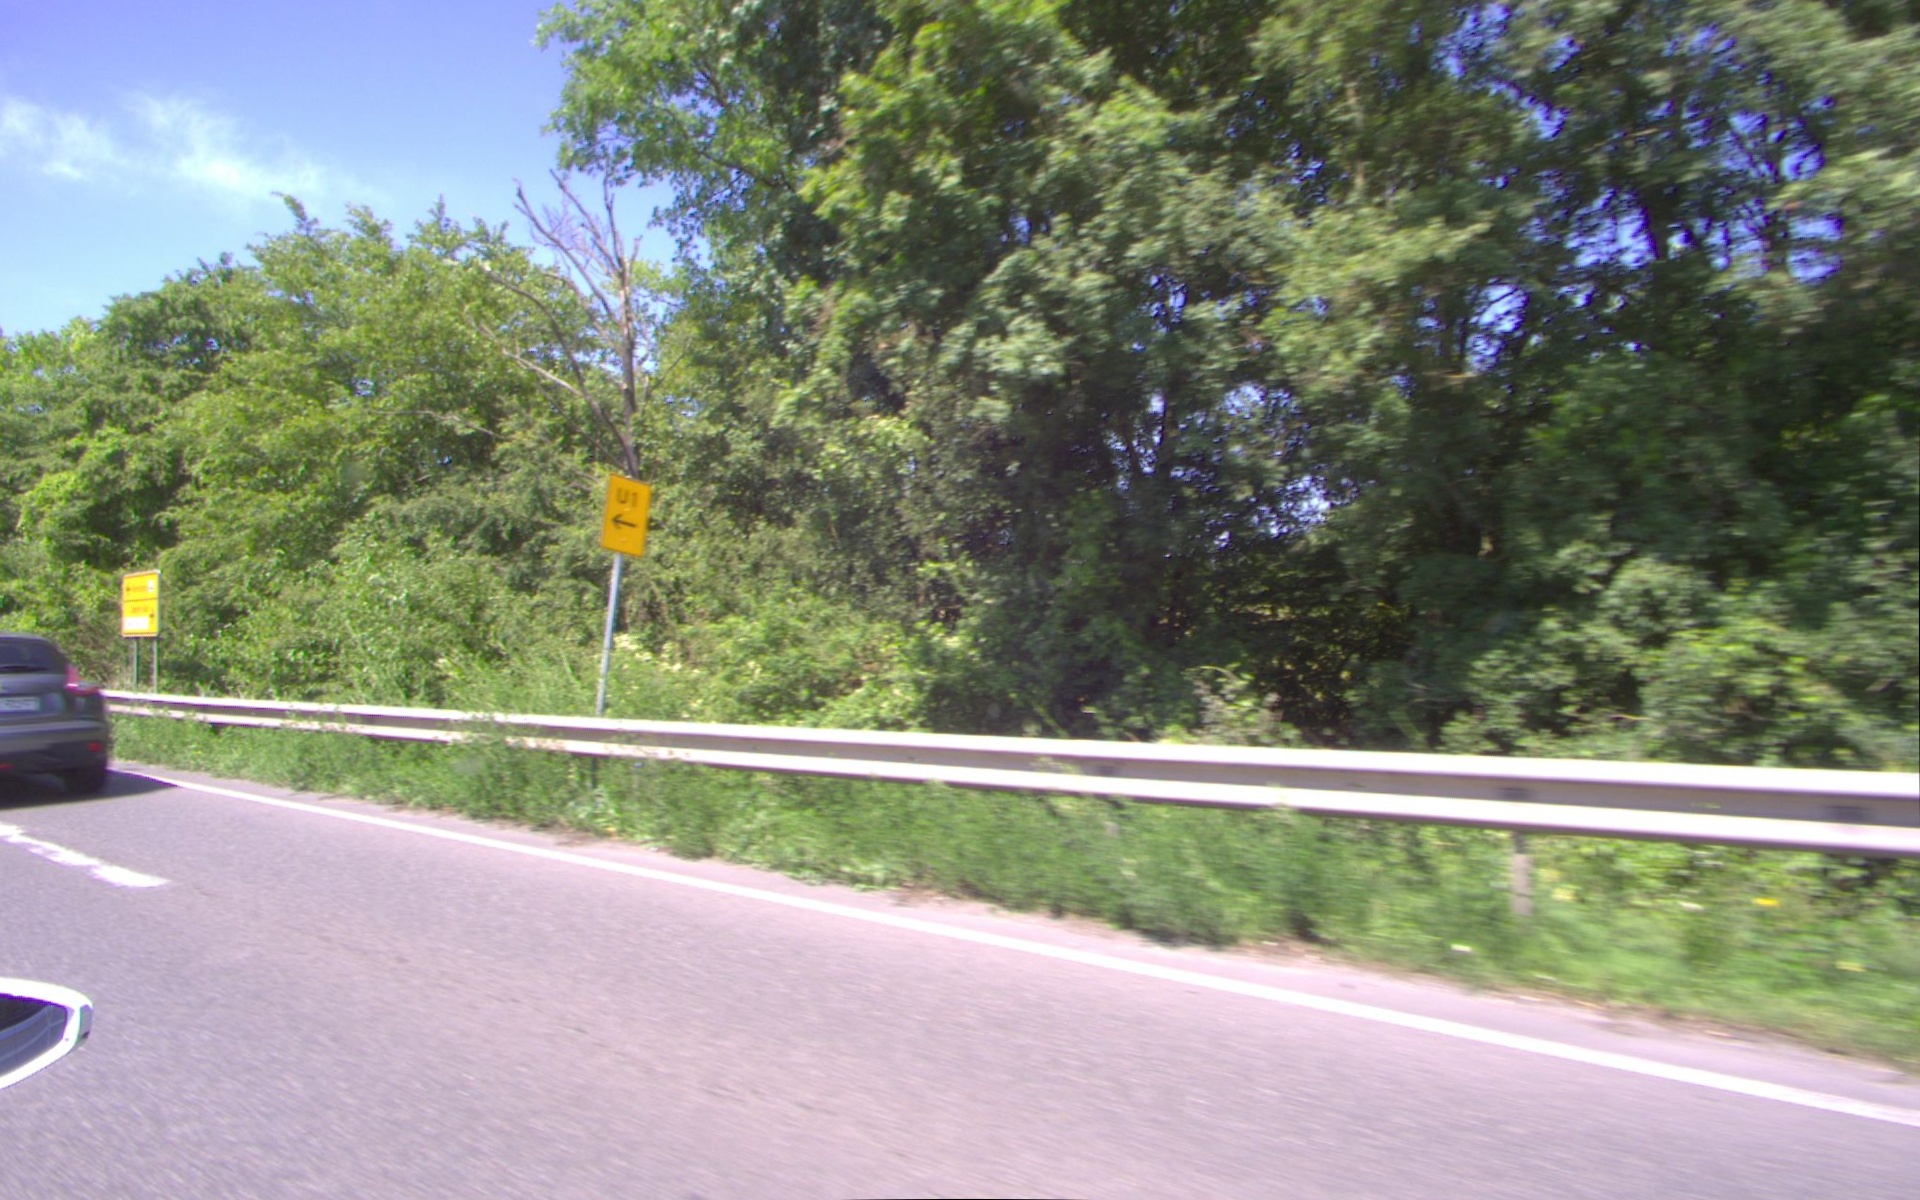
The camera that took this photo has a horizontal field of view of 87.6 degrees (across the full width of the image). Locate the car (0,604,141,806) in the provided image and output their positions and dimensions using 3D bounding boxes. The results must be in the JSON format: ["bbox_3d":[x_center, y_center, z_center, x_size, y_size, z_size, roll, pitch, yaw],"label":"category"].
[{"bbox_3d":[-9.765,0.914,9.591,3.943,1.706,1.840,-1,-1,32],"label":"car"}]
